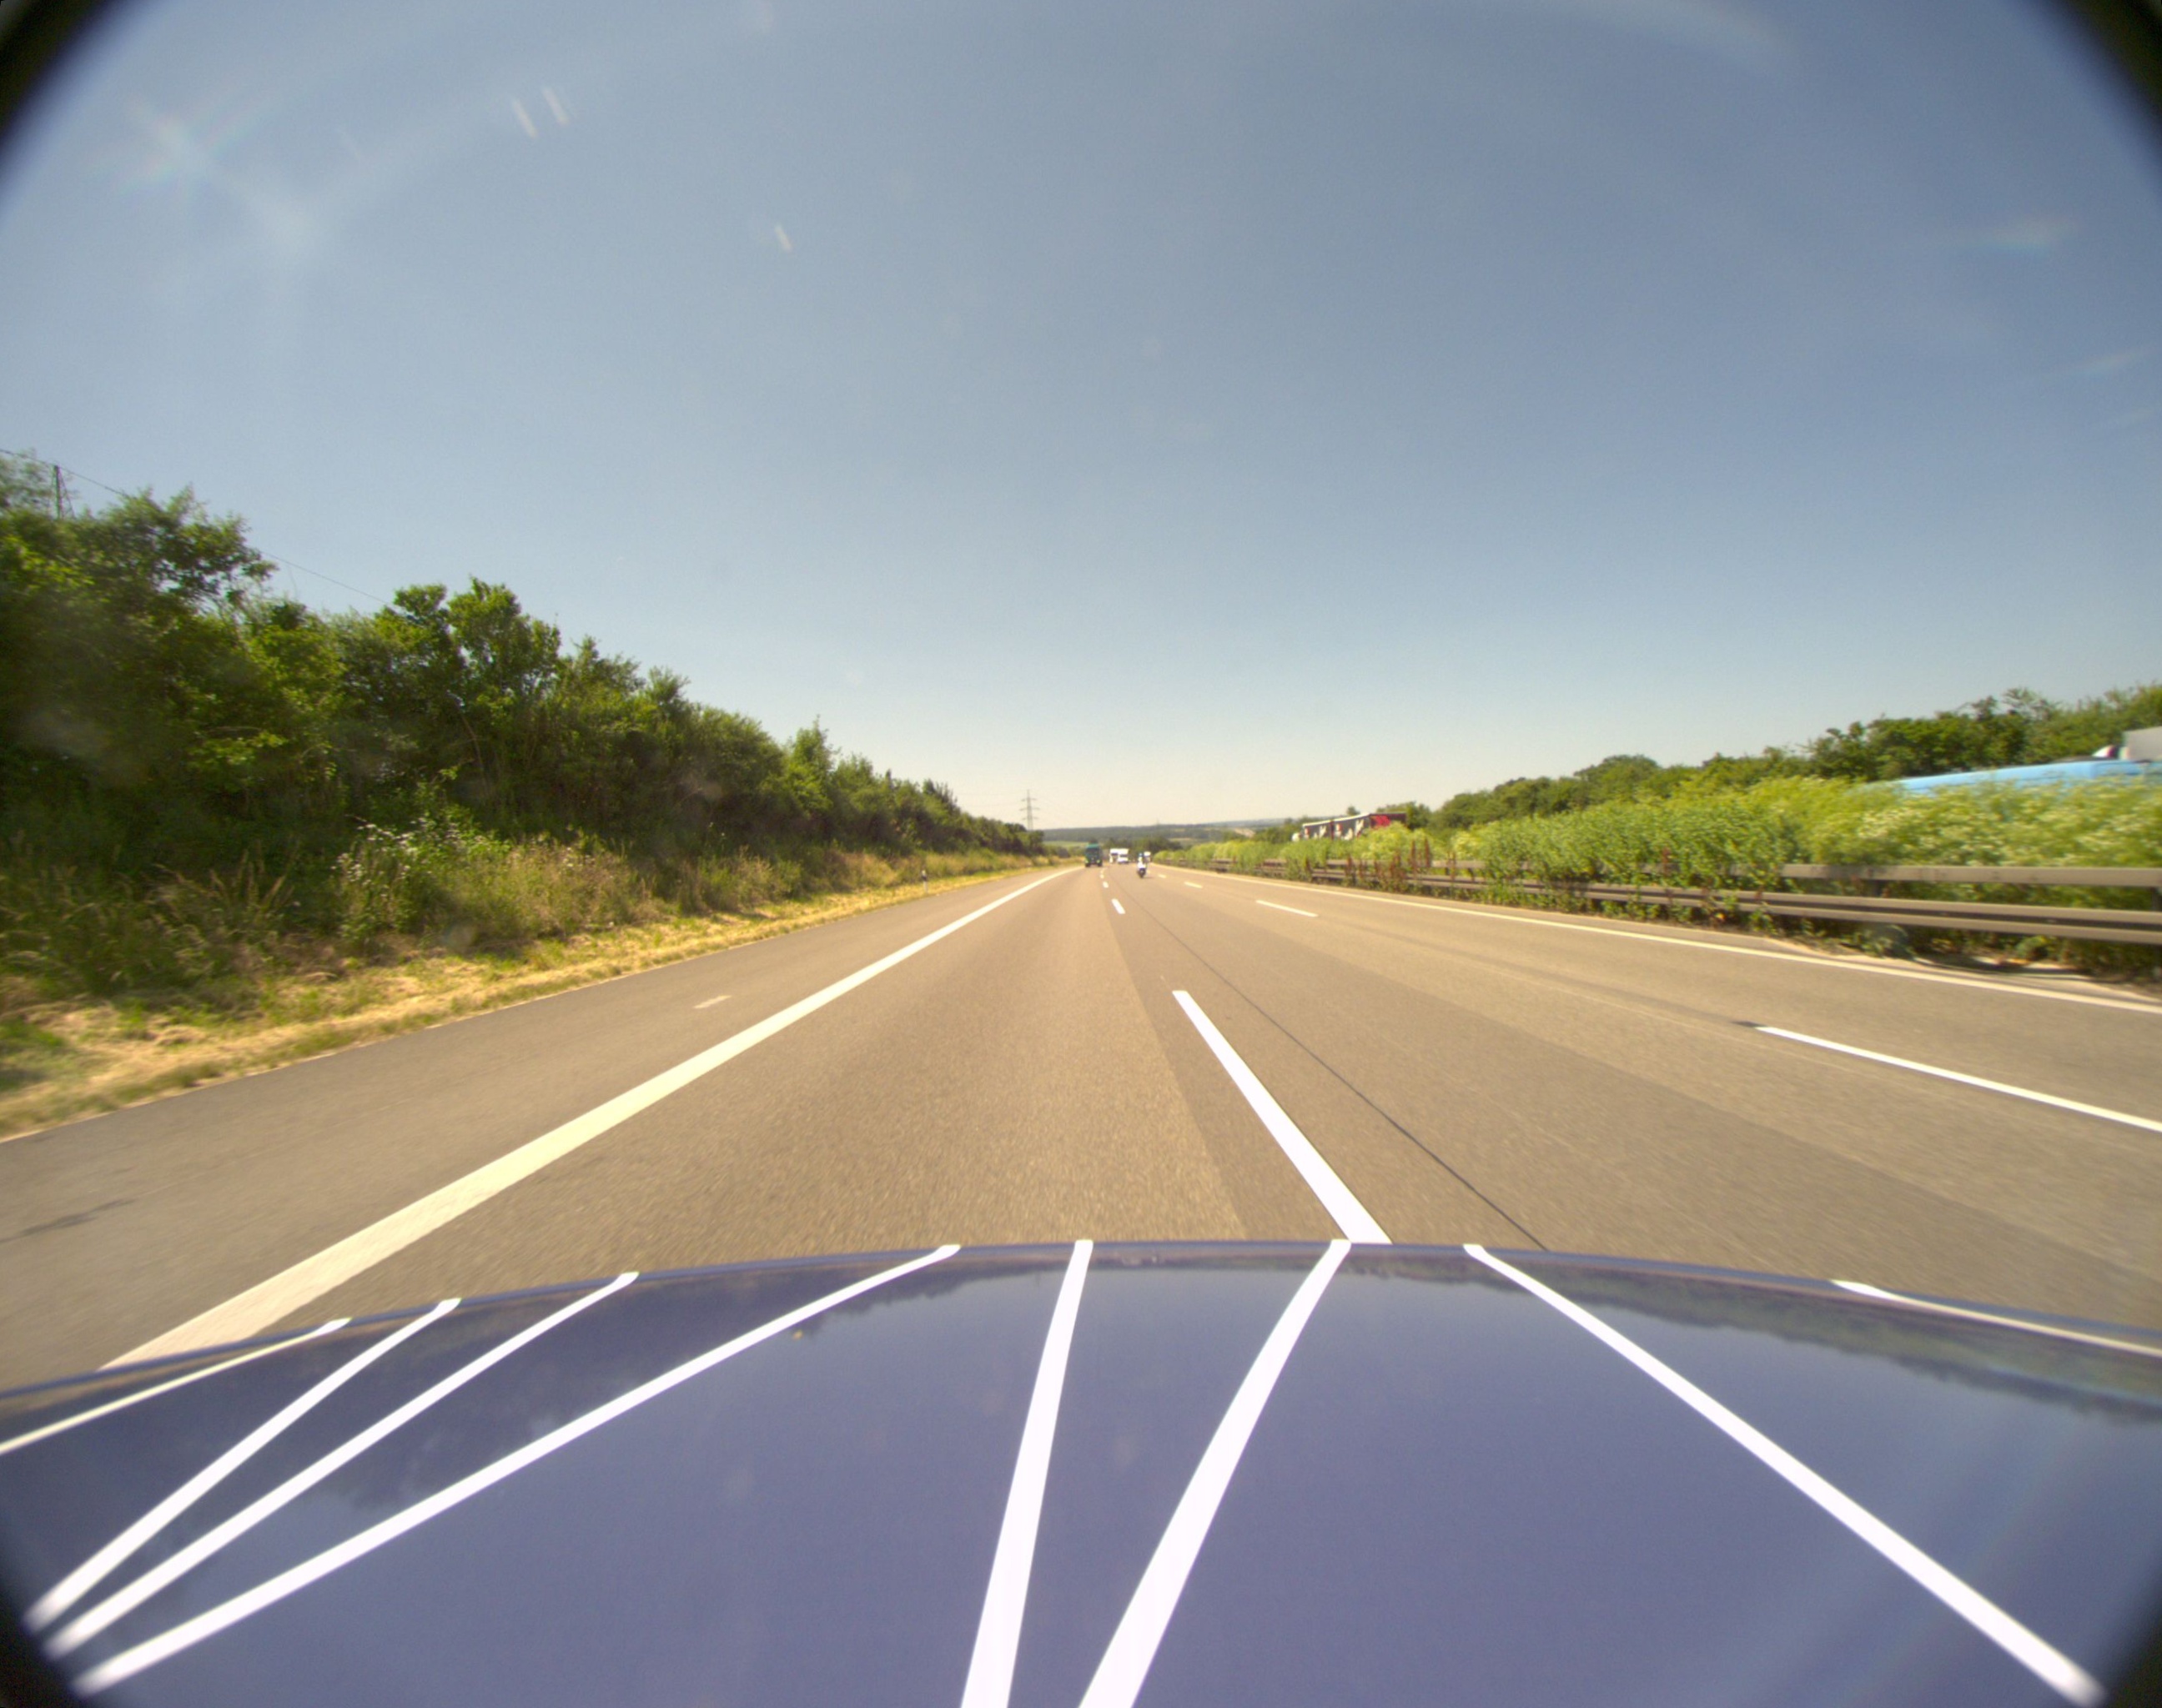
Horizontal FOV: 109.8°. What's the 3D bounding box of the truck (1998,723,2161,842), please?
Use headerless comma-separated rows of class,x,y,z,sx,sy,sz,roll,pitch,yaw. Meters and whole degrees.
truck,19.804,-1.268,11.986,2.498,2.002,6.797,-1,0,0

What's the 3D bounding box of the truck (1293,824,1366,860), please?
truck,26.157,-1.148,81.006,2.465,3.436,14.685,-1,0,-2

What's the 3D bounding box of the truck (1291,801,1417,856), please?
truck,21.316,-1.705,61.466,3.238,3.590,18.530,-4,0,0

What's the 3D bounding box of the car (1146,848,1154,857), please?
car,15.437,-0.377,169.498,1.704,1.958,4.001,-1,0,3

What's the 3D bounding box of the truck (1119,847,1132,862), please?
truck,9.718,0.184,167.343,2.512,3.268,8.107,0,0,1

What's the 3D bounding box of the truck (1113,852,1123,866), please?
truck,10.894,1.450,223.371,2.567,4.129,6.250,-1,0,3

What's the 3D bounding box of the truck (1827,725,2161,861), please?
truck,15.948,-0.911,13.298,1.860,2.002,4.000,-1,0,1

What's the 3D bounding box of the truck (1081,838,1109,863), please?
truck,2.371,-0.529,122.811,2.871,3.702,12.770,-1,0,8
